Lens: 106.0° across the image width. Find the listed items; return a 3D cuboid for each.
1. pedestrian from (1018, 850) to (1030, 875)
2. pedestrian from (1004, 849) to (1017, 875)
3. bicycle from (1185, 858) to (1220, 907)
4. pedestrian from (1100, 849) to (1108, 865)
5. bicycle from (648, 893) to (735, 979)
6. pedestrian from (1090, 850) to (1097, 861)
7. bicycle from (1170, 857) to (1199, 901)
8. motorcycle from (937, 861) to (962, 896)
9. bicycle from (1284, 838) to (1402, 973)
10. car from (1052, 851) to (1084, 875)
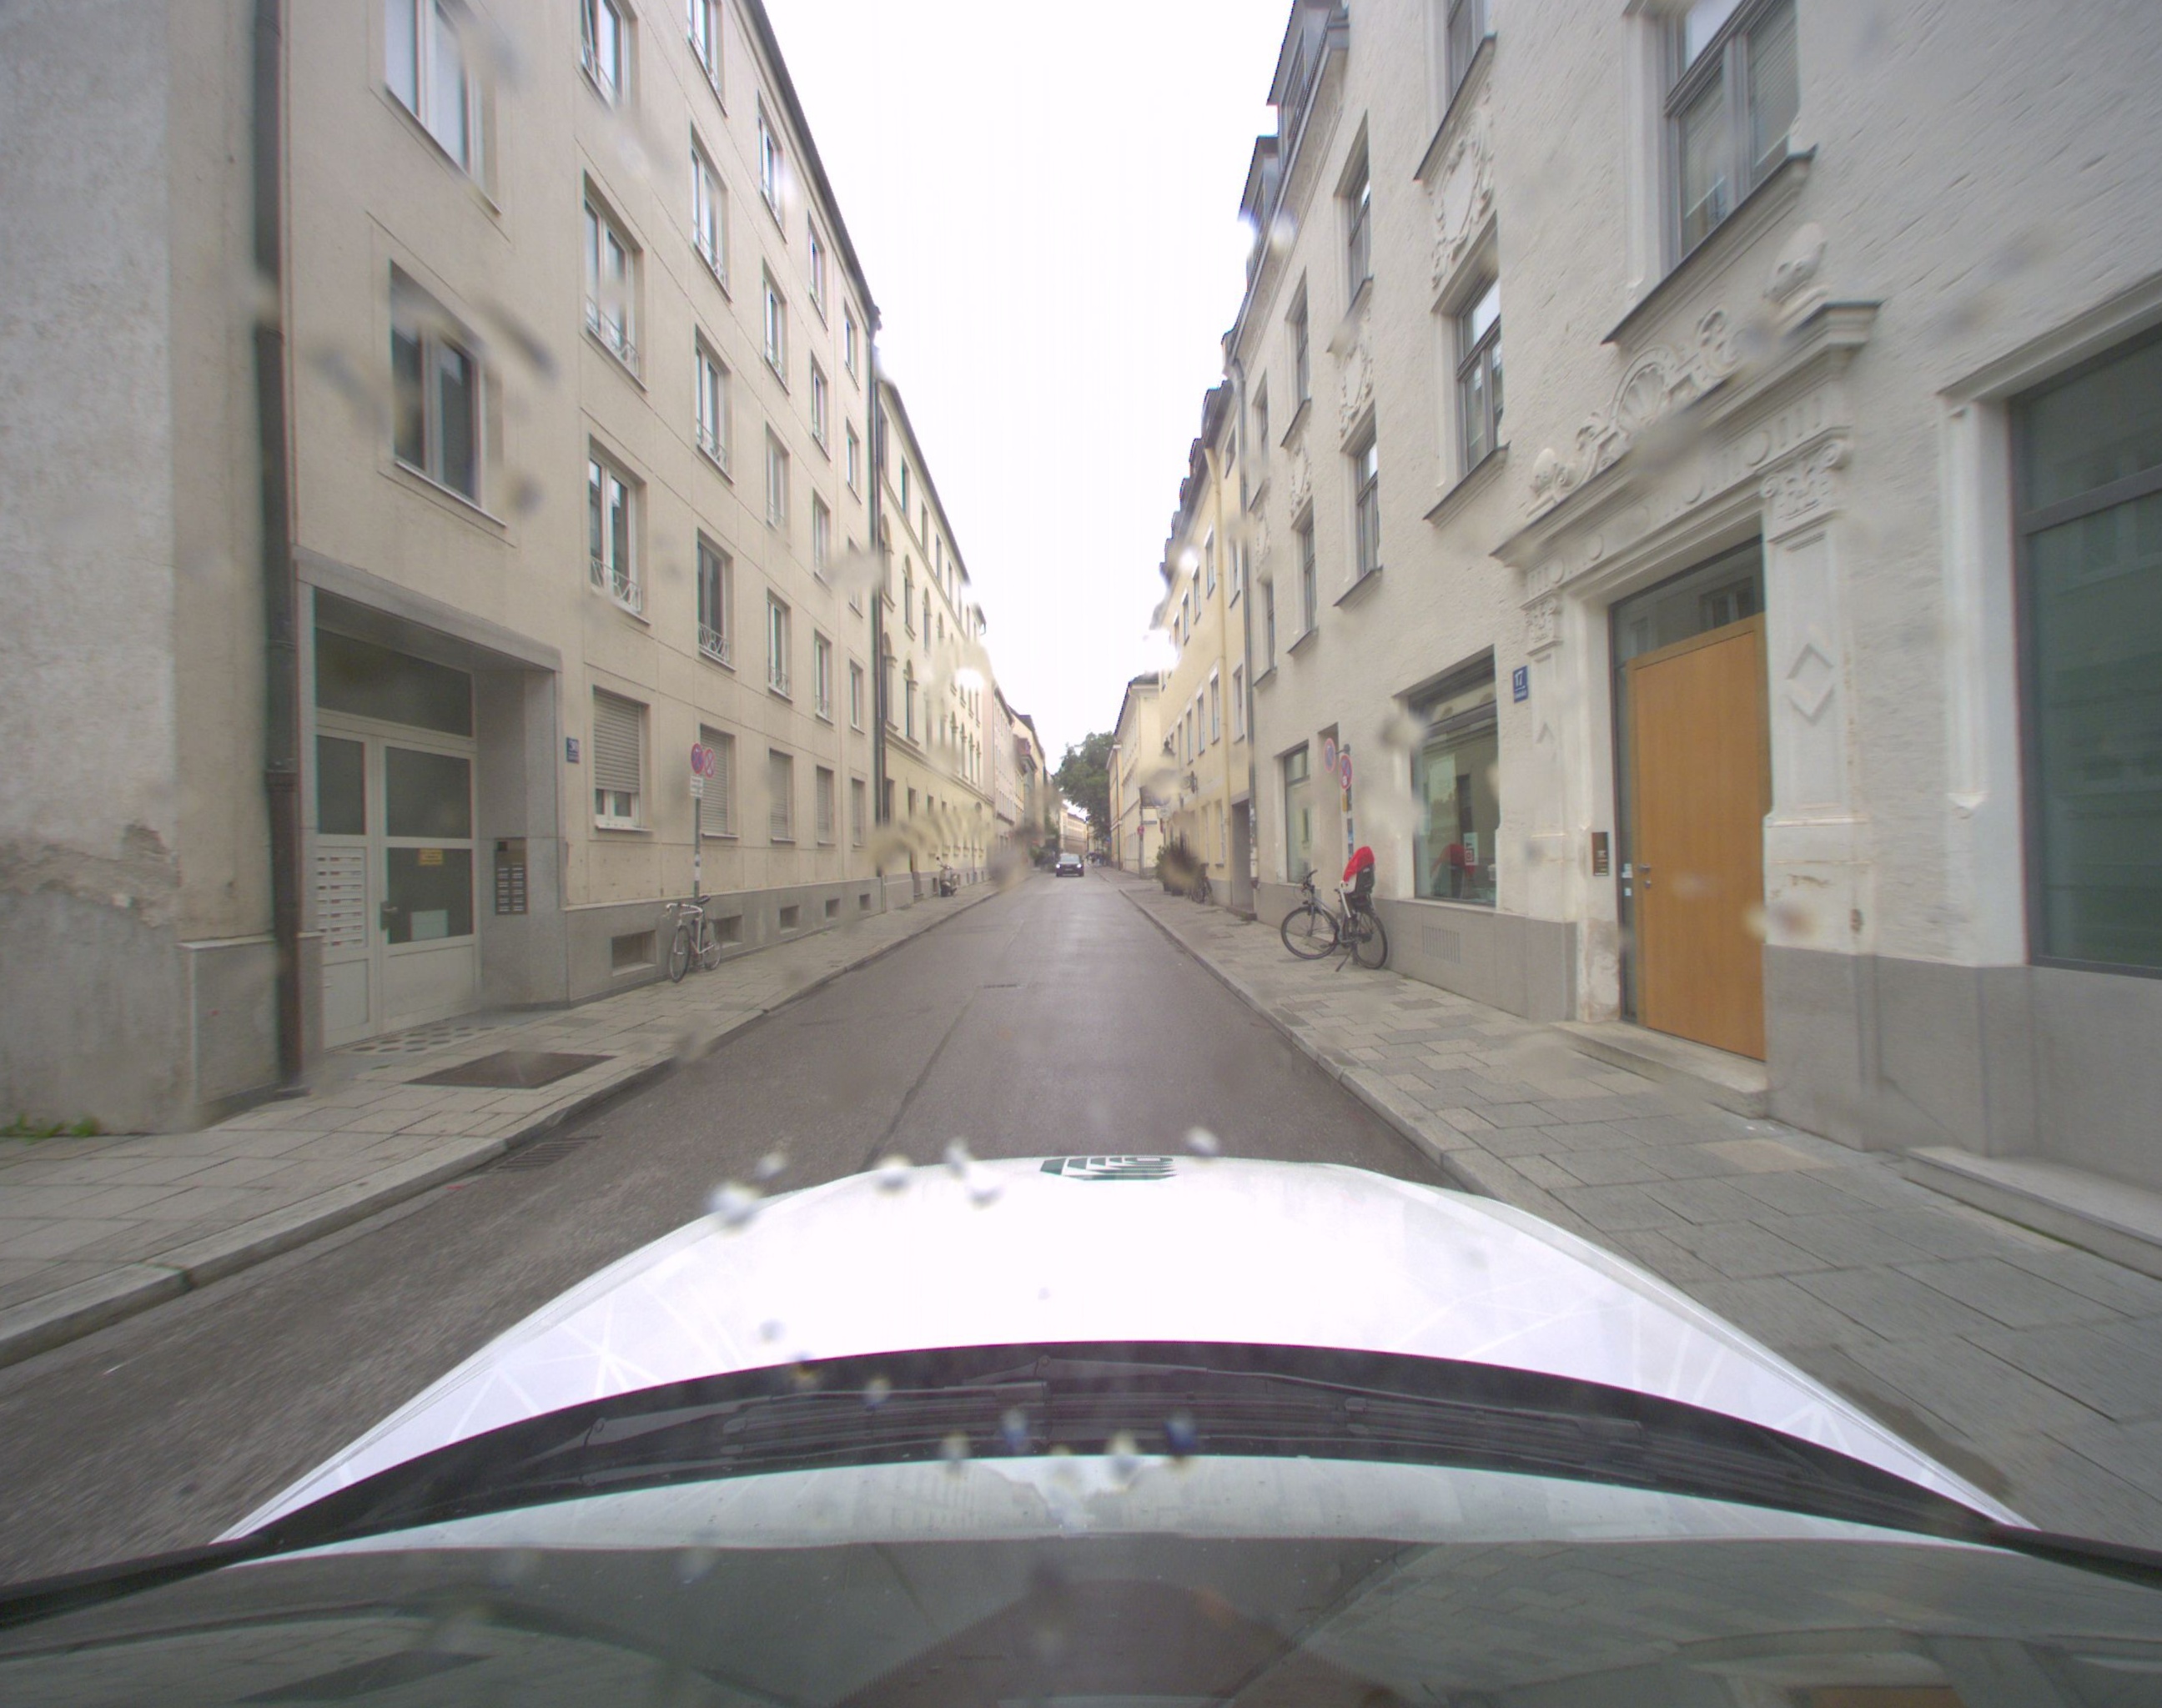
[{"bbox_3d":[-3.970,0.590,56.909,0.764,1.708,0.784,-2,0,-3],"label":"pedestrian"},{"bbox_3d":[-4.864,0.537,56.255,0.807,1.755,0.989,-1,1,-3],"label":"pedestrian"},{"bbox_3d":[3.074,0.693,20.822,0.563,1.137,1.988,-4,0,1],"label":"bicycle"},{"bbox_3d":[2.650,0.369,92.127,0.877,1.802,1.046,0,0,0],"label":"pedestrian"},{"bbox_3d":[-5.009,1.022,10.560,0.318,0.944,1.574,1,0,2],"label":"bicycle"},{"bbox_3d":[1.955,0.216,129.561,1.012,1.802,1.349,0,0,0],"label":"pedestrian"},{"bbox_3d":[2.921,0.689,23.039,0.563,1.137,1.684,-4,0,1],"label":"bicycle"},{"bbox_3d":[-4.660,0.864,28.905,0.600,1.174,1.708,-1,0,0],"label":"motorcycle"},{"bbox_3d":[3.053,0.541,9.737,0.710,1.396,2.123,-4,0,2],"label":"bicycle"},{"bbox_3d":[-0.874,0.595,56.043,1.804,1.594,4.004,-1,0,4],"label":"car"}]
